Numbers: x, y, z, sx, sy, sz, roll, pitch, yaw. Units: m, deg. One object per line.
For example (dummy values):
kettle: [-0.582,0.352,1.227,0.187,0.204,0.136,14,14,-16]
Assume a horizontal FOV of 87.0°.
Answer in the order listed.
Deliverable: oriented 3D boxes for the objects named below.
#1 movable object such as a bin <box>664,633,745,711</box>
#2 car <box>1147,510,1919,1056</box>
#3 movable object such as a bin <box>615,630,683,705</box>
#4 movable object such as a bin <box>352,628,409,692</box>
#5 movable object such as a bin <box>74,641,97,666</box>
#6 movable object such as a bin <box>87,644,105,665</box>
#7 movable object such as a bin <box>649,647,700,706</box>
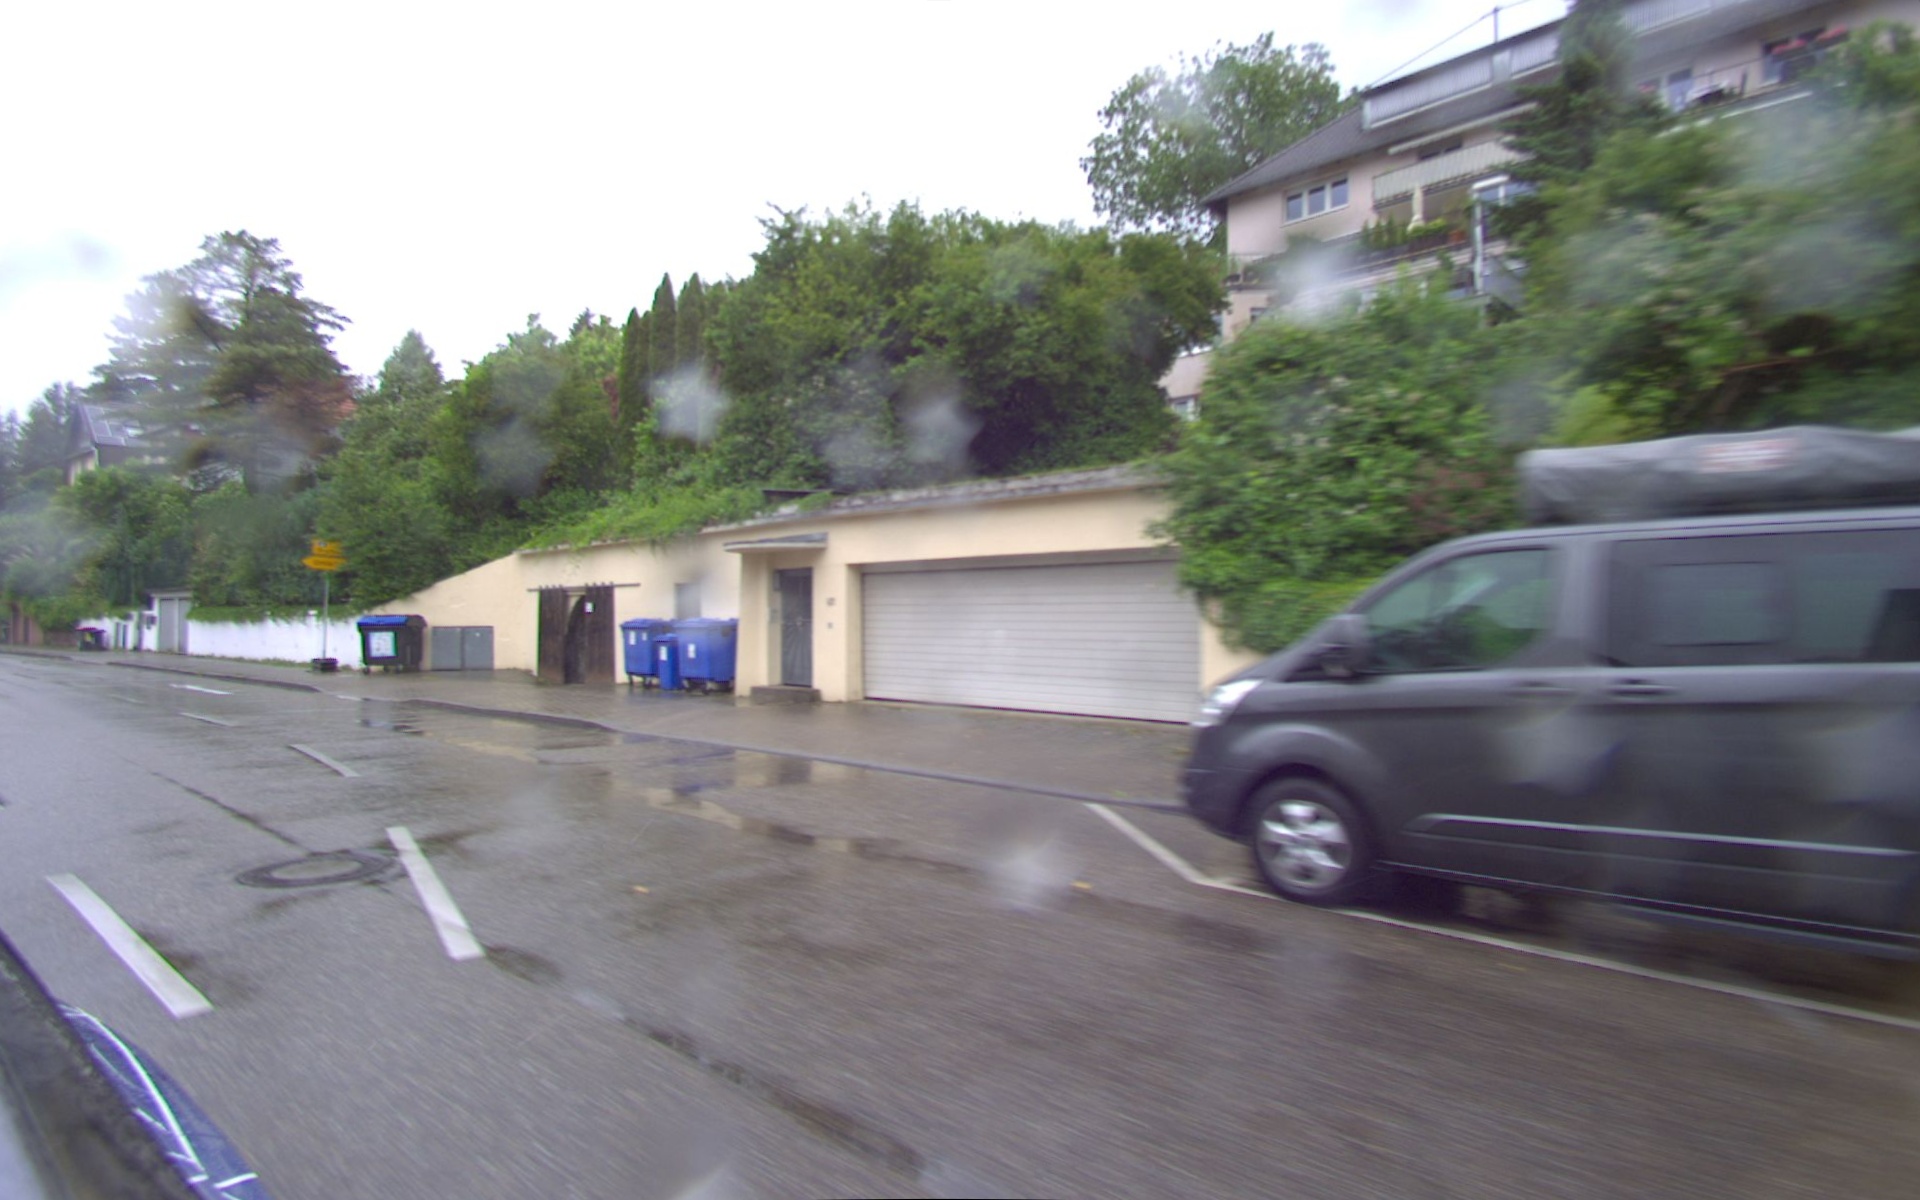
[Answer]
movable object such as a bin: [-4.656,1.285,18.415,1.402,1.324,0.811,-2,-1,45]
car: [3.736,0.672,4.746,5.323,1.933,2.135,-1,-2,42]
movable object such as a bin: [-6.143,1.312,19.971,1.135,1.392,0.811,-2,-1,45]
movable object such as a bin: [-14.251,1.458,24.890,0.861,1.456,0.923,0,3,39]
movable object such as a bin: [-39.291,2.405,45.472,0.656,1.048,0.675,-1,0,37]
movable object such as a bin: [-38.249,2.418,44.798,0.415,0.905,0.526,-1,0,37]
movable object such as a bin: [-5.463,1.452,19.363,0.608,1.050,0.727,-1,0,45]
